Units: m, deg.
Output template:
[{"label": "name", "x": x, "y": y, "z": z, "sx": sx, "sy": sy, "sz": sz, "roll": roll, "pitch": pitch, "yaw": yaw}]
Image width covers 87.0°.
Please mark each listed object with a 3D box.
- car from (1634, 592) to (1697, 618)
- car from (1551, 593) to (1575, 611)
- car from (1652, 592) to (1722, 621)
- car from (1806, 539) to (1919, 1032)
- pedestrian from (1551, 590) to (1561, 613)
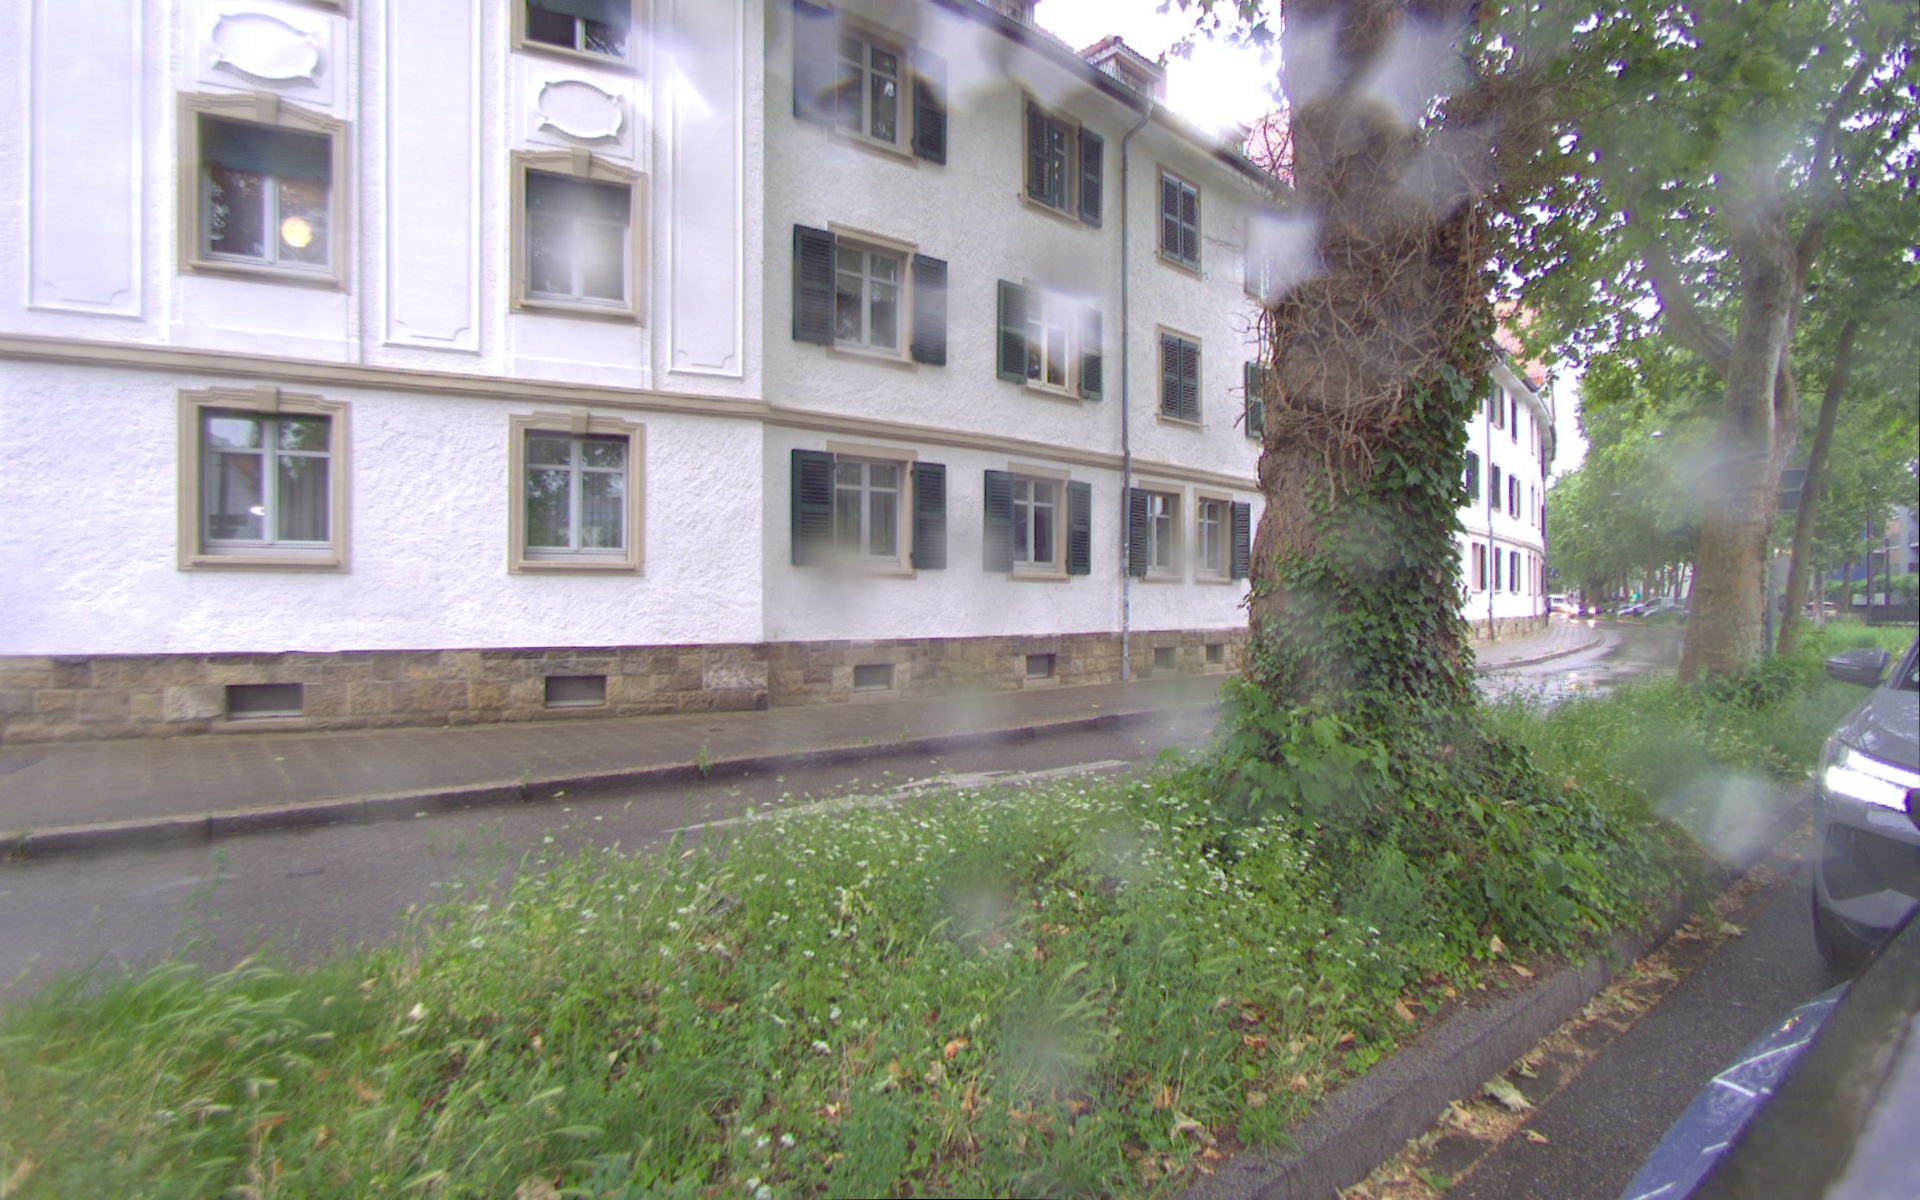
[{"label": "car", "x": 55.909, "y": 0.384, "z": 80.305, "sx": 3.969, "sy": 2.039, "sz": 1.977, "roll": 0, "pitch": -1, "yaw": 32}, {"label": "car", "x": 80.334, "y": 0.260, "z": 134.862, "sx": 2.173, "sy": 2.292, "sz": 5.367, "roll": 0, "pitch": 0, "yaw": 24}, {"label": "car", "x": 52.643, "y": 0.468, "z": 73.400, "sx": 3.969, "sy": 2.039, "sz": 1.977, "roll": 0, "pitch": -1, "yaw": 32}, {"label": "car", "x": 5.146, "y": 0.616, "z": 4.319, "sx": 4.039, "sy": 1.662, "sz": 1.913, "roll": 0, "pitch": 0, "yaw": -44}, {"label": "pedestrian", "x": 49.270, "y": 0.105, "z": 83.636, "sx": 0.668, "sy": 1.845, "sz": 0.672, "roll": 0, "pitch": 0, "yaw": 31}]
